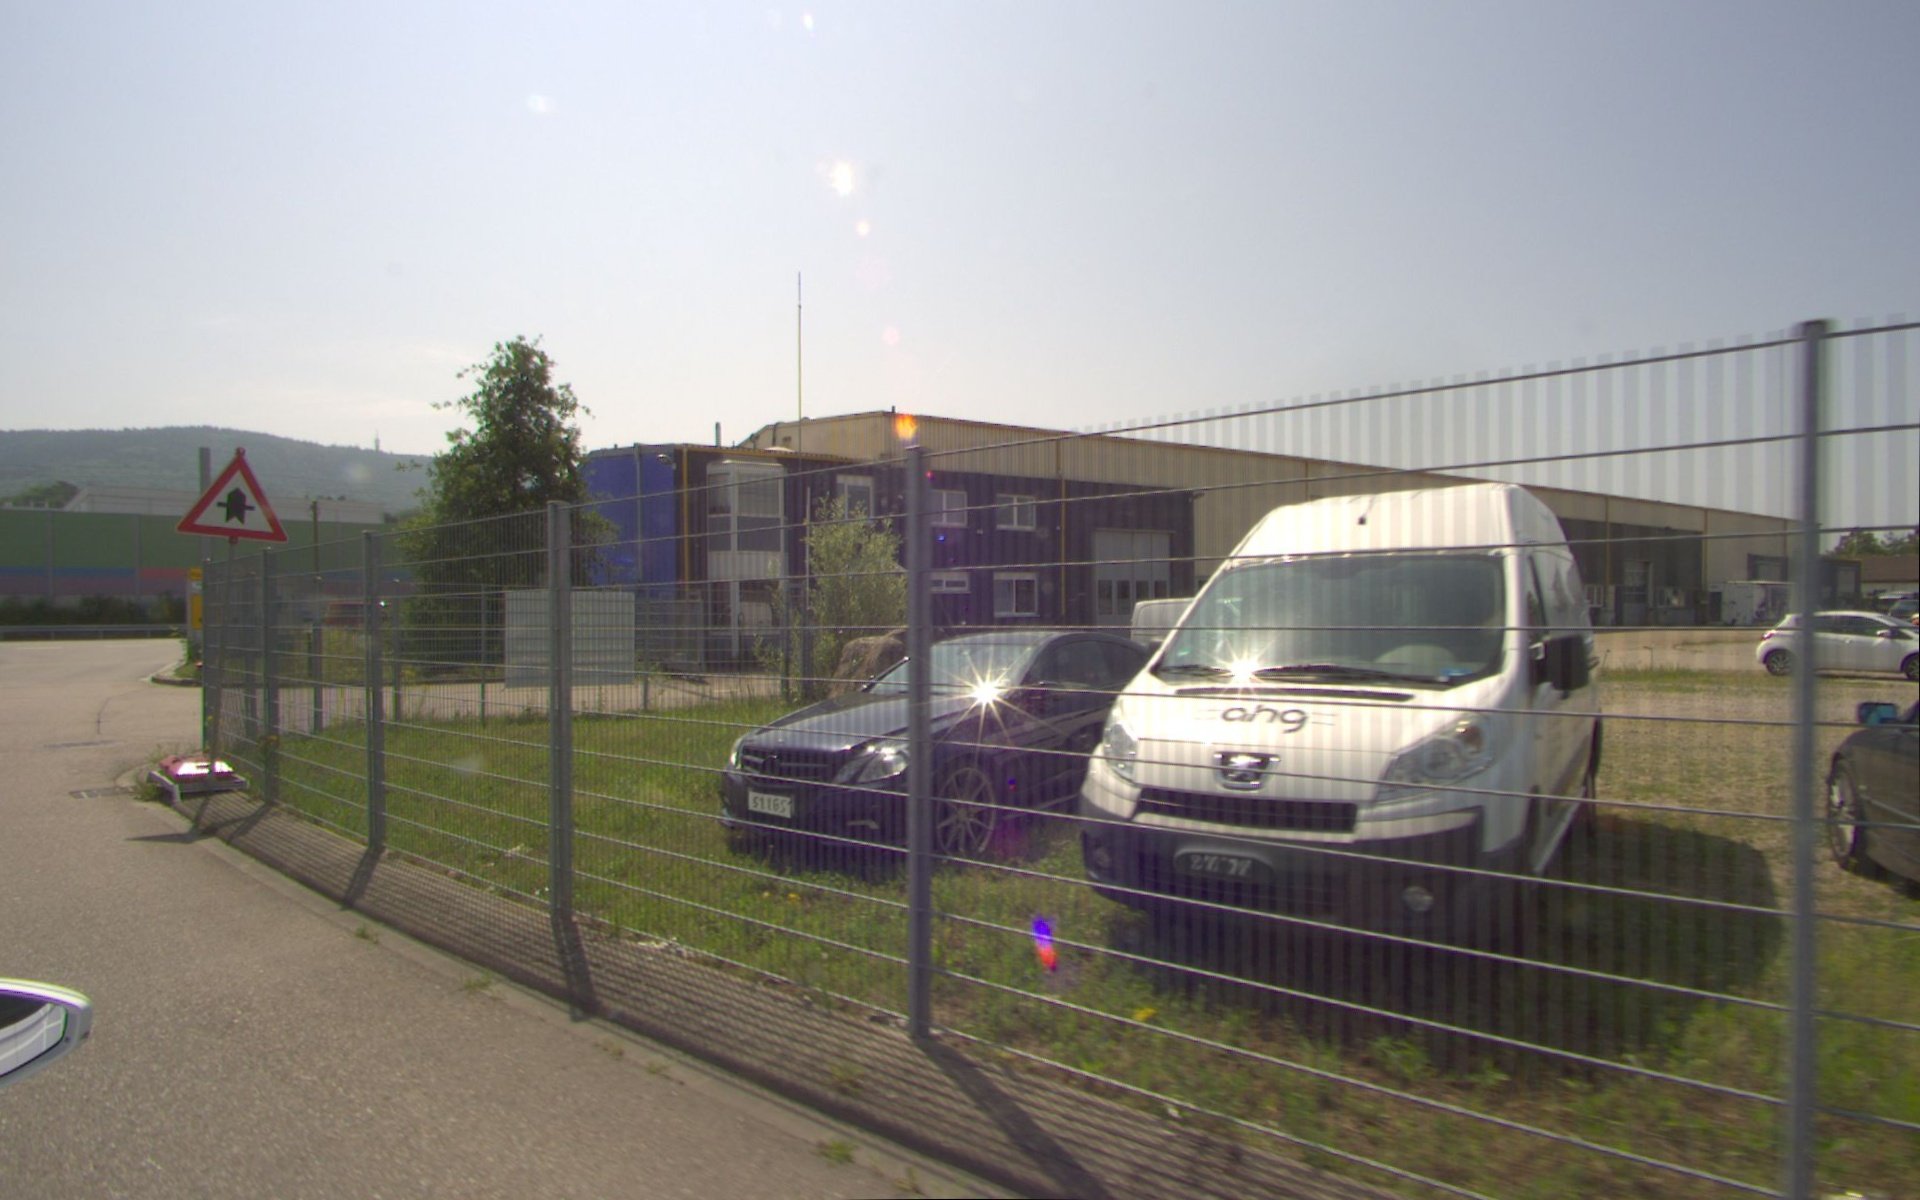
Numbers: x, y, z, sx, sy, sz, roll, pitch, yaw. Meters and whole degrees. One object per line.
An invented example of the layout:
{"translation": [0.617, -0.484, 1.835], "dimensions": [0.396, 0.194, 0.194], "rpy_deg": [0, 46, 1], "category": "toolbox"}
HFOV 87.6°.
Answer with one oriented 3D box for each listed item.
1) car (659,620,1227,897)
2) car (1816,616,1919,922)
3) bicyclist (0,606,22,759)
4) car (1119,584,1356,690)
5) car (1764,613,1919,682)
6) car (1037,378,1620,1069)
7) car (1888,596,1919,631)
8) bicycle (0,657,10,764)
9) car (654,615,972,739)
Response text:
{"translation": [0.187, 0.869, 7.509], "dimensions": [1.884, 1.378, 4.401], "rpy_deg": [-1, 0, 39], "category": "car"}
{"translation": [4.882, 0.765, 3.849], "dimensions": [1.592, 1.375, 4.190], "rpy_deg": [0, 0, 29], "category": "car"}
{"translation": [-10.801, 0.892, 10.898], "dimensions": [0.837, 1.639, 1.029], "rpy_deg": [1, -1, -45], "category": "bicyclist"}
{"translation": [5.579, 0.702, 20.890], "dimensions": [1.830, 1.924, 5.053], "rpy_deg": [0, 0, -28], "category": "car"}
{"translation": [20.645, 1.035, 22.579], "dimensions": [1.514, 1.454, 3.646], "rpy_deg": [0, 0, -31], "category": "car"}
{"translation": [2.630, 0.412, 5.873], "dimensions": [1.882, 2.177, 5.309], "rpy_deg": [0, 0, 36], "category": "car"}
{"translation": [43.350, 0.605, 43.328], "dimensions": [1.729, 1.505, 4.364], "rpy_deg": [1, 0, -31], "category": "car"}
{"translation": [-10.835, 1.192, 10.917], "dimensions": [0.680, 1.065, 1.882], "rpy_deg": [0, 0, -43], "category": "bicycle"}
{"translation": [-1.724, 0.863, 12.869], "dimensions": [1.882, 1.294, 3.904], "rpy_deg": [-1, 0, 36], "category": "car"}
